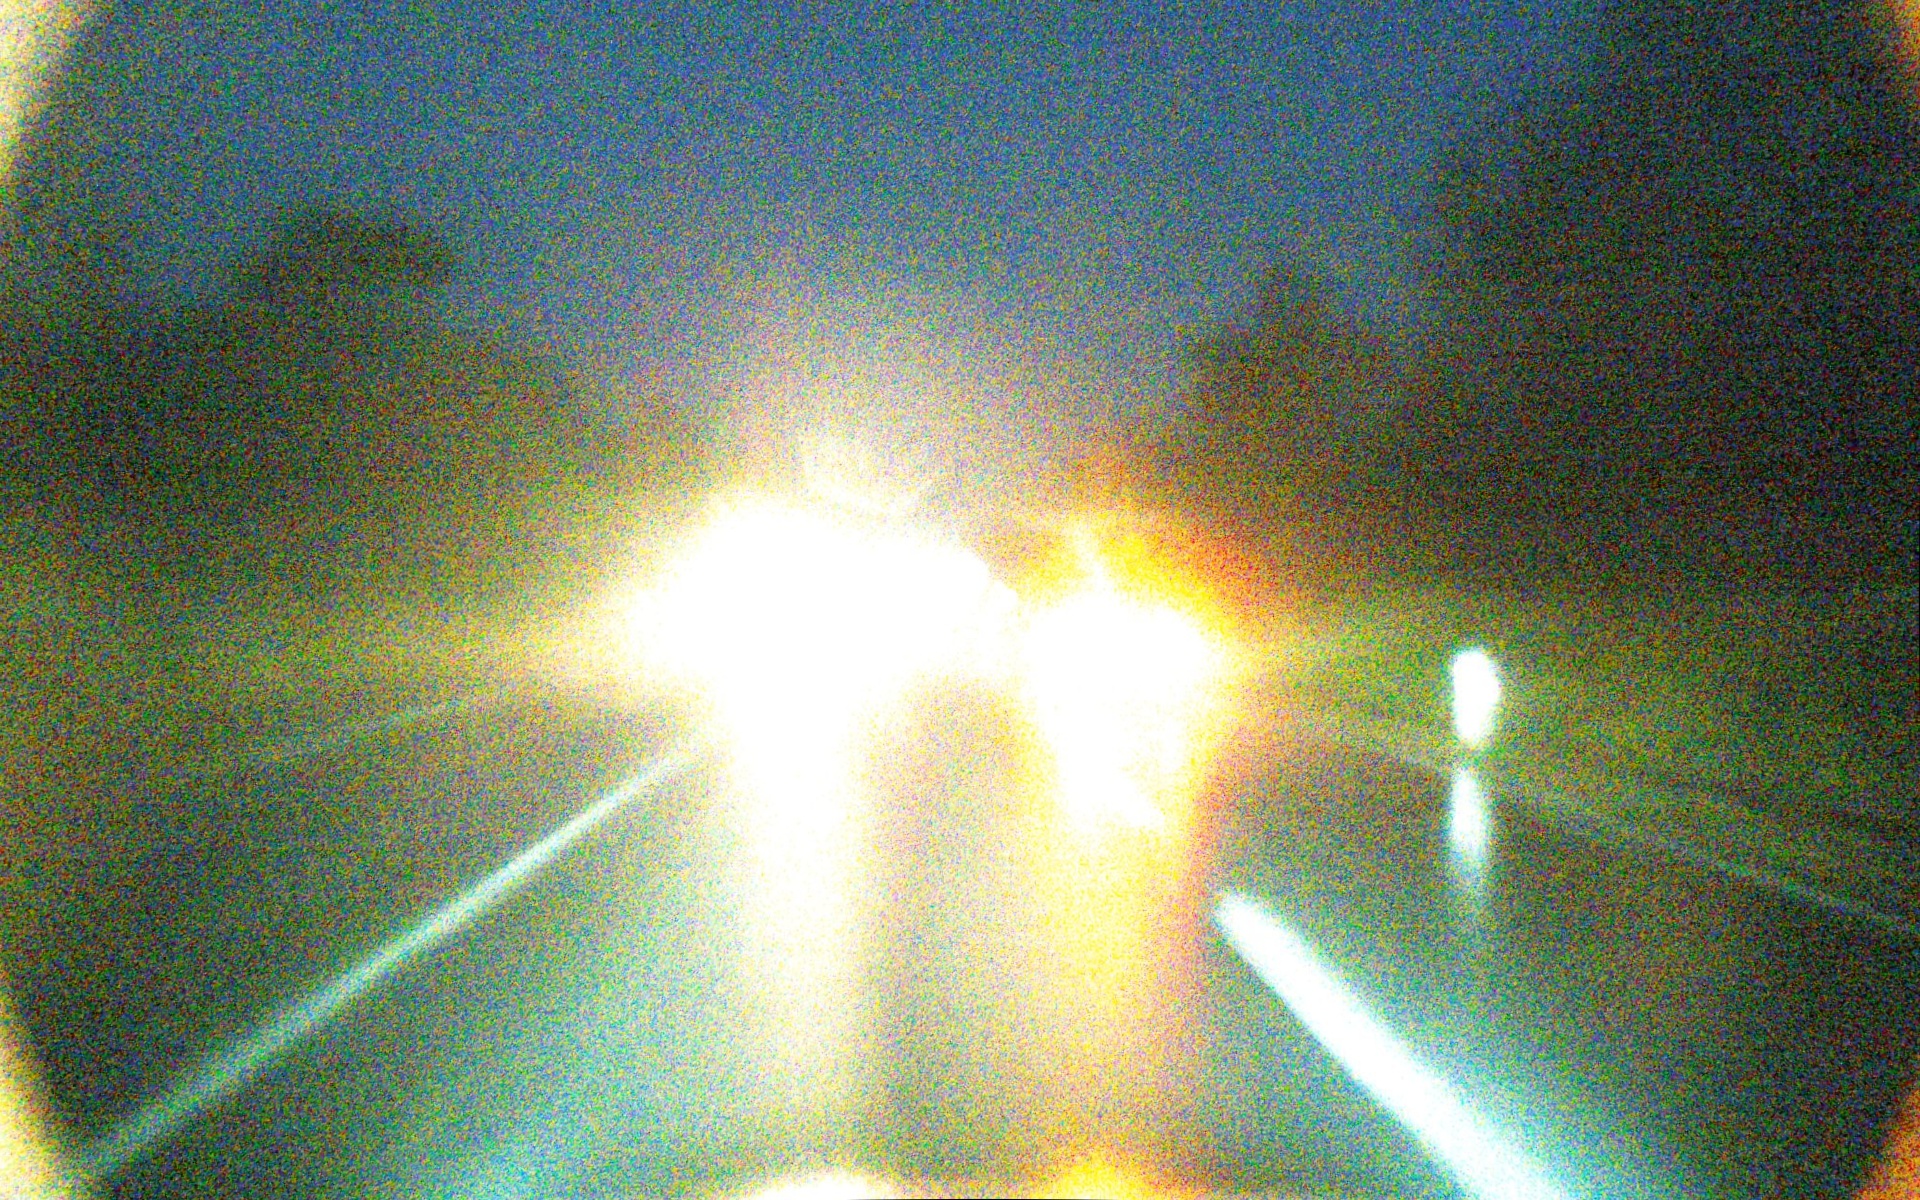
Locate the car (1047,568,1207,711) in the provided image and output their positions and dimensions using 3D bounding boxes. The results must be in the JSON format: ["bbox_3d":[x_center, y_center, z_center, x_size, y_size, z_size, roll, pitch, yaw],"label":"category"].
[{"bbox_3d":[2.527,0.570,25.986,2.051,2.049,3.999,1,0,-1],"label":"car"}]

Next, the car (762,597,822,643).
[{"bbox_3d":[-6.241,0.713,61.869,1.953,1.603,4.659,1,0,-2],"label":"car"}]

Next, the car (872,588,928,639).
[{"bbox_3d":[-2.006,0.427,54.936,1.772,1.650,3.998,0,0,-2],"label":"car"}]
